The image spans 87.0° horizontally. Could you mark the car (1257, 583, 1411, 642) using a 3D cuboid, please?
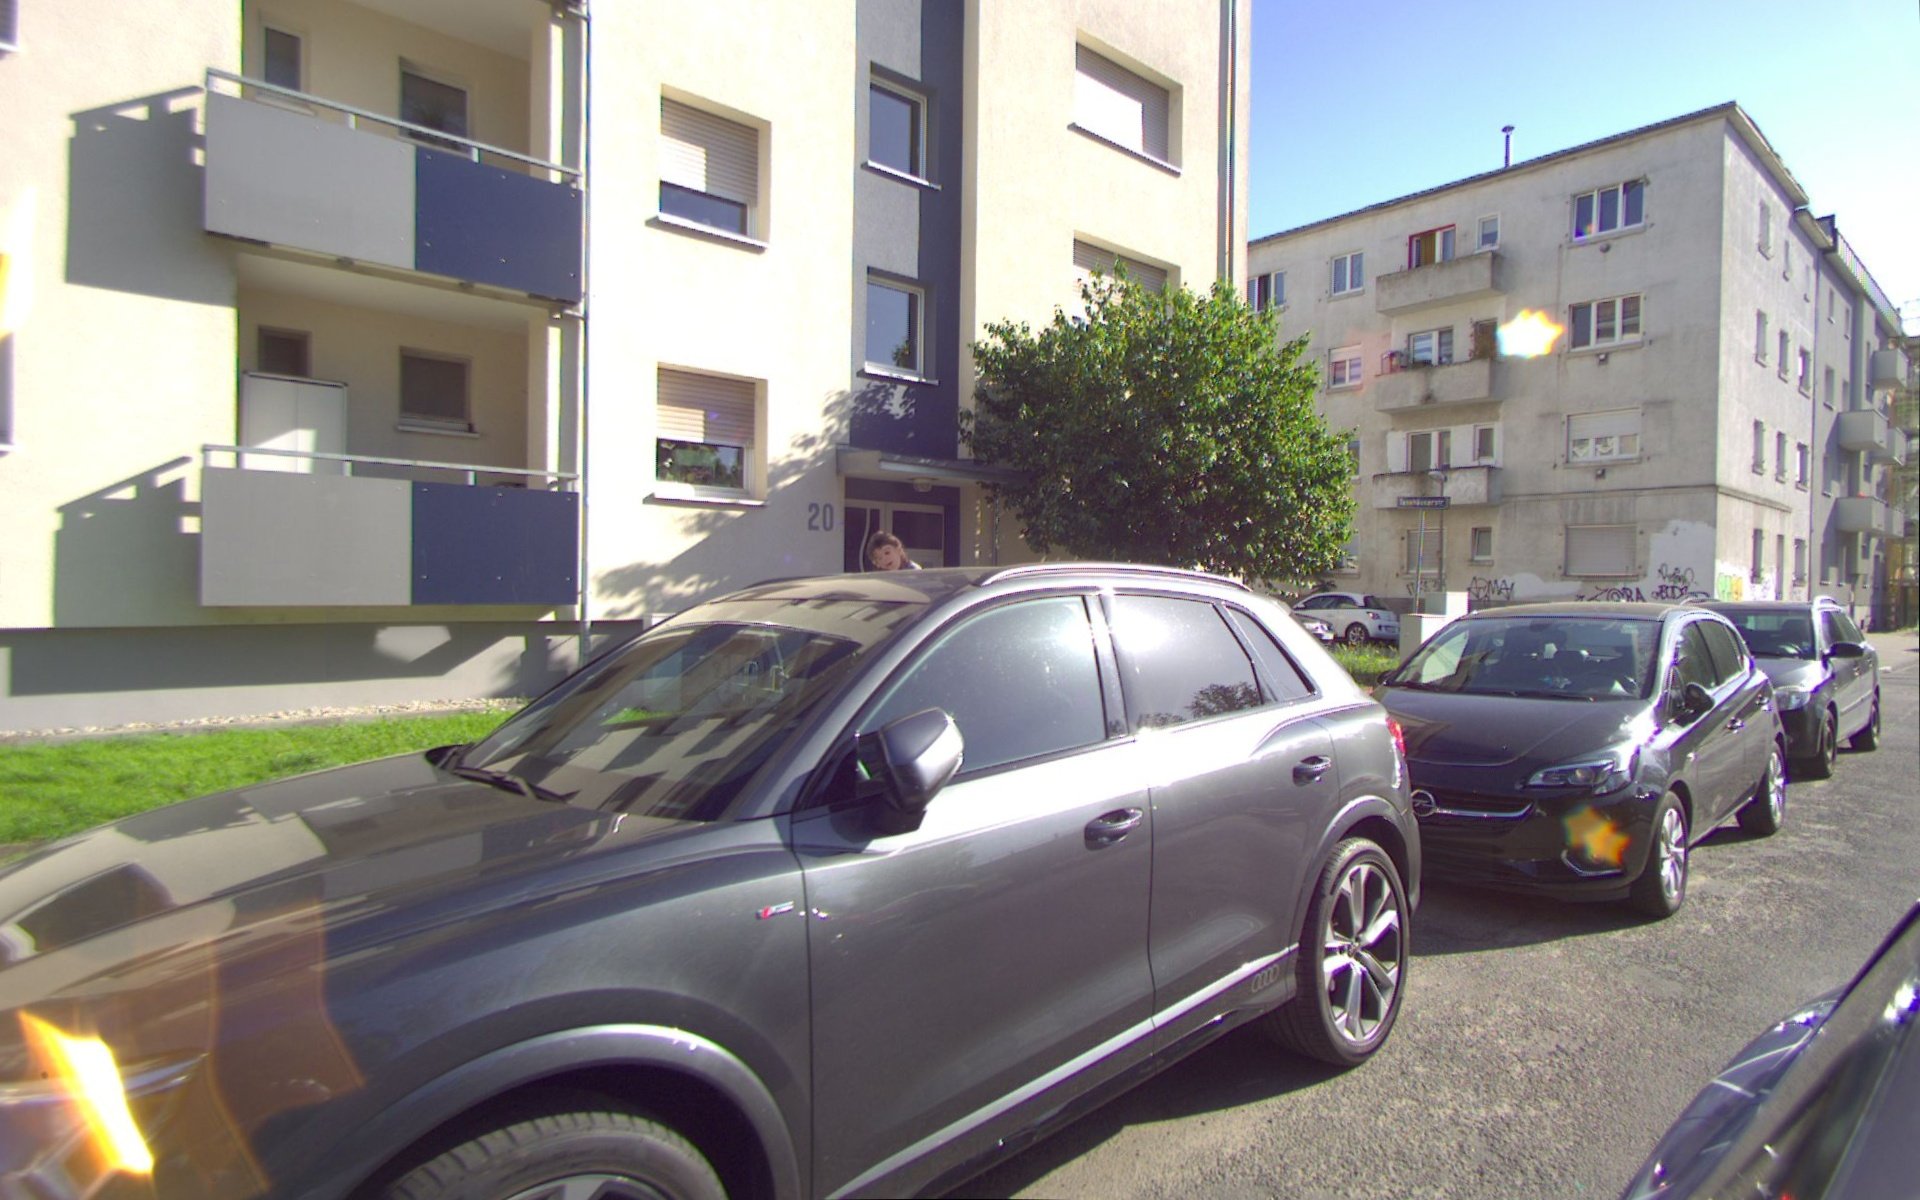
[{"bbox_3d":[10.477,0.321,28.528,1.661,1.477,3.718,2,0,-39],"label":"car"}]

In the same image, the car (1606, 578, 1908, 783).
[{"bbox_3d":[7.823,0.587,9.797,4.015,1.567,1.620,-1,2,-42],"label":"car"}]

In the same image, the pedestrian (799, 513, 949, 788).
[{"bbox_3d":[-0.604,0.320,7.115,0.826,1.794,0.646,0,1,-41],"label":"pedestrian"}]

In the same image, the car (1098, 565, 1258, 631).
[{"bbox_3d":[6.959,-0.103,32.740,1.922,1.958,4.850,2,0,-41],"label":"car"}]

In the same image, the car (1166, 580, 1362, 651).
[{"bbox_3d":[7.015,0.331,23.667,1.771,1.433,4.043,4,-1,-41],"label":"car"}]

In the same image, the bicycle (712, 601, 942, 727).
[{"bbox_3d":[-1.164,0.530,9.376,2.246,1.024,0.485,0,2,-44],"label":"bicycle"}]

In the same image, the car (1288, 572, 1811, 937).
[{"bbox_3d":[3.669,0.608,6.018,3.732,1.503,1.607,0,1,-42],"label":"car"}]

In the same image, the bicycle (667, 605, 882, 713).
[{"bbox_3d":[-1.823,0.549,10.298,2.246,0.972,0.485,0,2,-44],"label":"bicycle"}]

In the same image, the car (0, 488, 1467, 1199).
[{"bbox_3d":[-0.266,0.650,2.934,4.183,1.578,1.754,0,1,-43],"label":"car"}]
